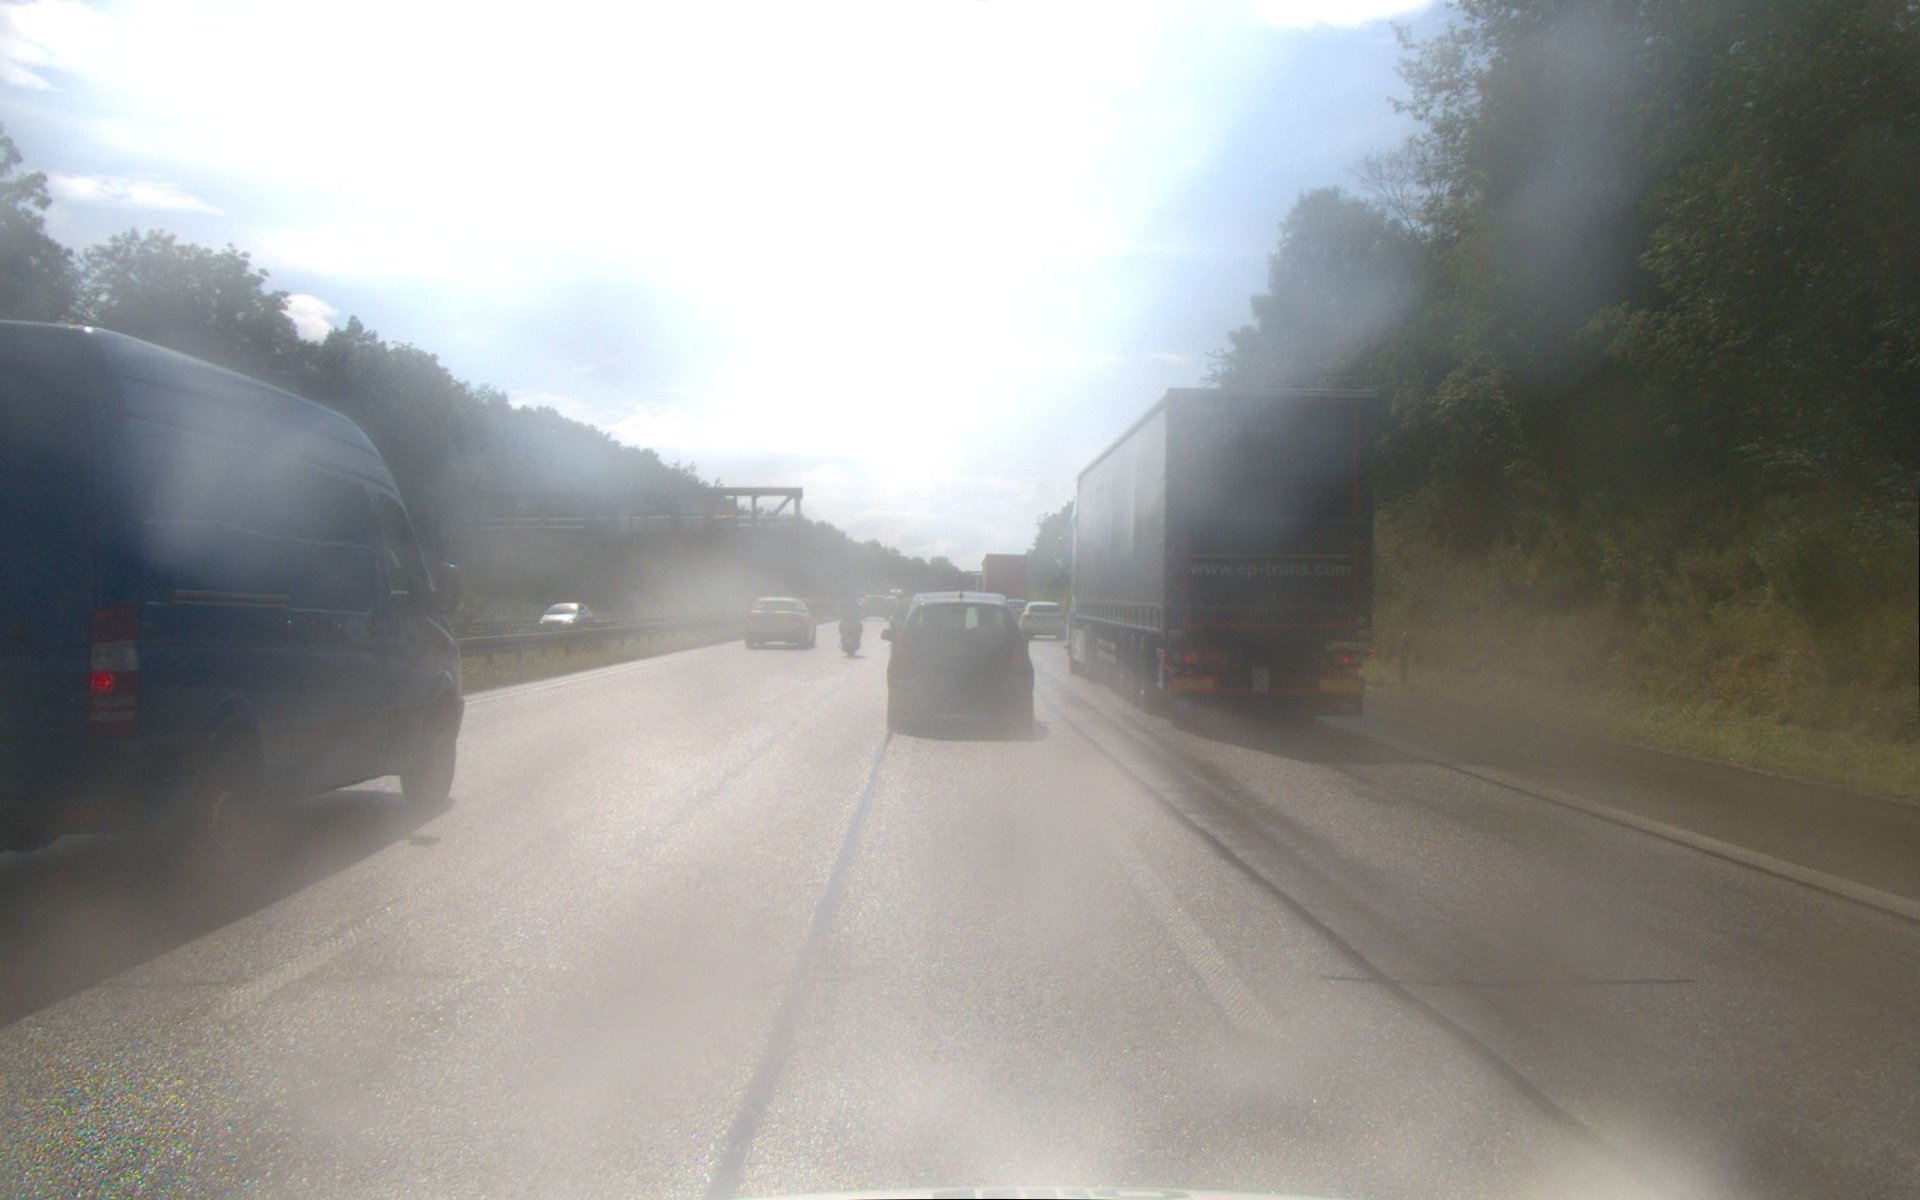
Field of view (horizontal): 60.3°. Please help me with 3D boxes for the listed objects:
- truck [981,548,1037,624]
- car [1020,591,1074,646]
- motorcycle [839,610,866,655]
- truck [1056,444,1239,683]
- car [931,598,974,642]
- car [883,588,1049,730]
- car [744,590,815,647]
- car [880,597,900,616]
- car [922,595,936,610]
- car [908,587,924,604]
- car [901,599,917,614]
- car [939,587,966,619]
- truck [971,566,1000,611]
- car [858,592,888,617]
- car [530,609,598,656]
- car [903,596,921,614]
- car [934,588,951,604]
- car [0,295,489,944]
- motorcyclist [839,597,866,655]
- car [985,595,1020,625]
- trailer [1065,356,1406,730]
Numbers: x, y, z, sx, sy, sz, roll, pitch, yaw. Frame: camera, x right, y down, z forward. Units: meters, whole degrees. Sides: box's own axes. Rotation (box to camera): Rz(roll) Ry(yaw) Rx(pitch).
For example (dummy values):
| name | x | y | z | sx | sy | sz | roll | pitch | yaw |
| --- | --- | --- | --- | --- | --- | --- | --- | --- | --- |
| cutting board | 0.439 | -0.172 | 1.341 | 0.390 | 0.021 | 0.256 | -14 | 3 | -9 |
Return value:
| name | x | y | z | sx | sy | sz | roll | pitch | yaw |
| --- | --- | --- | --- | --- | --- | --- | --- | --- | --- |
| truck | 2.978 | -0.832 | 103.689 | 3.137 | 4.481 | 9.431 | 1 | 0 | 0 |
| car | 3.367 | 0.713 | 64.597 | 1.811 | 2.049 | 4.086 | 1 | 0 | 0 |
| motorcycle | -2.781 | 0.823 | 42.731 | 0.662 | 1.106 | 1.980 | 1 | 0 | -4 |
| truck | 3.659 | -0.681 | 33.721 | 2.990 | 4.400 | 5.885 | 1 | 0 | 0 |
| car | -0.371 | 0.941 | 79.195 | 1.953 | 2.049 | 3.999 | 1 | 0 | -2 |
| car | 0.029 | 0.666 | 20.892 | 1.876 | 1.592 | 4.313 | 0 | 0 | -1 |
| car | -5.361 | 0.538 | 49.606 | 1.723 | 1.622 | 4.329 | 0 | 0 | -1 |
| car | -5.956 | 0.557 | 141.184 | 1.641 | 1.625 | 3.436 | 0 | 0 | -1 |
| car | -4.370 | 0.318 | 231.489 | 1.953 | 2.049 | 3.999 | 1 | 0 | -1 |
| car | -5.580 | -0.592 | 208.175 | 1.953 | 2.049 | 3.999 | 1 | 0 | -1 |
| car | -5.161 | 0.648 | 167.662 | 1.641 | 1.516 | 3.436 | 0 | 0 | -1 |
| car | -0.502 | 0.200 | 103.773 | 1.641 | 1.970 | 3.772 | 0 | 0 | -1 |
| truck | 2.783 | -1.220 | 182.596 | 2.823 | 4.769 | 12.655 | 1 | 0 | -1 |
| car | -5.830 | 0.298 | 111.359 | 1.854 | 1.656 | 4.194 | 0 | 0 | -1 |
| car | -17.835 | 1.442 | 74.747 | 1.953 | 2.049 | 4.805 | 1 | 0 | -1 |
| car | -5.588 | 0.607 | 192.435 | 1.953 | 2.049 | 3.999 | 1 | 0 | -1 |
| car | -1.739 | -0.382 | 159.971 | 1.598 | 1.516 | 3.436 | 0 | 0 | -1 |
| car | -4.546 | 0.071 | 9.740 | 1.975 | 2.695 | 5.775 | 0 | 0 | -1 |
| motorcyclist | -2.773 | 0.664 | 42.682 | 0.657 | 1.467 | 1.019 | 1 | 0 | -4 |
| car | 2.201 | 0.505 | 85.937 | 1.641 | 1.516 | 3.436 | 0 | 0 | -1 |
| trailer | 3.709 | -0.677 | 26.566 | 3.025 | 4.388 | 14.103 | 0 | 0 | 0 |
